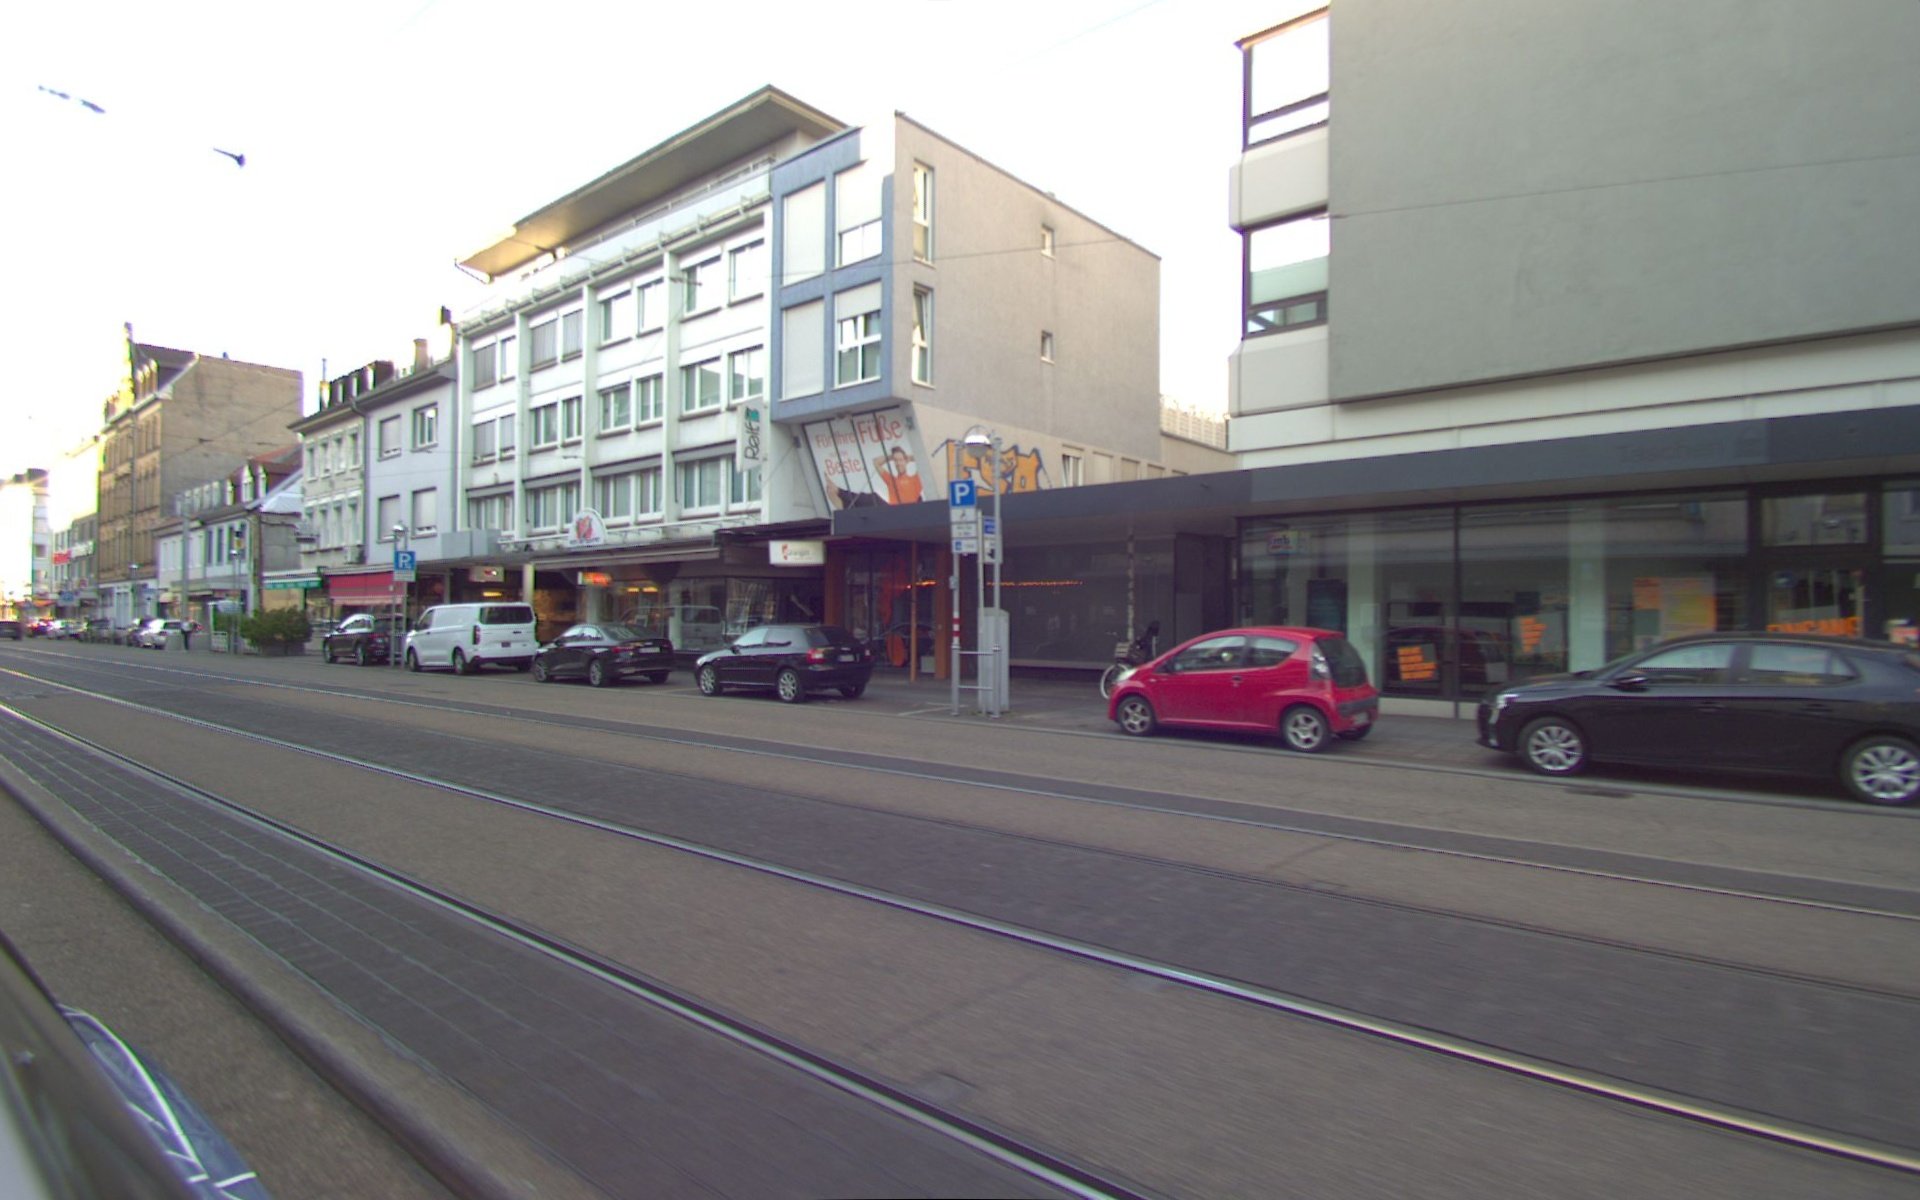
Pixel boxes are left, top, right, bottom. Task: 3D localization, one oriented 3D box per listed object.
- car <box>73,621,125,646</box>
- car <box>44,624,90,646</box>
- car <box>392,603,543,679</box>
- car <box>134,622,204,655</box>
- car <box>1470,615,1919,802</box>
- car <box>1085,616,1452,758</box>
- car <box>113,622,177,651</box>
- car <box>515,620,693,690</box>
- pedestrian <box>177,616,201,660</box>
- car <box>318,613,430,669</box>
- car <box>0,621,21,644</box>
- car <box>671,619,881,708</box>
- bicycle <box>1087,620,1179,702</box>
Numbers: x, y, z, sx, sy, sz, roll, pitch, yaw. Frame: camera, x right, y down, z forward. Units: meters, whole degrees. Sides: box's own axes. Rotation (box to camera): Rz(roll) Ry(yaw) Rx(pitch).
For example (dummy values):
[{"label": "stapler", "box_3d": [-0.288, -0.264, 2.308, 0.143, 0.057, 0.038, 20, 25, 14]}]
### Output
[{"label": "car", "box_3d": [-55.633, 2.133, 65.357, 3.998, 1.564, 1.973, -1, -2, 41]}, {"label": "car", "box_3d": [-64.584, 2.484, 73.164, 4.204, 1.564, 1.973, -1, -2, 41]}, {"label": "car", "box_3d": [-14.162, 1.144, 28.975, 5.158, 1.992, 1.935, -1, -2, 40]}, {"label": "car", "box_3d": [-40.300, 1.909, 51.504, 4.876, 1.556, 1.972, -1, -1, 42]}, {"label": "car", "box_3d": [7.482, 0.922, 9.850, 4.213, 1.523, 1.668, -1, -1, 41]}, {"label": "car", "box_3d": [3.835, 0.987, 13.037, 4.213, 1.523, 1.668, -1, -1, 41]}, {"label": "car", "box_3d": [-44.367, 1.957, 55.067, 4.550, 1.556, 1.889, -1, -2, 41]}, {"label": "car", "box_3d": [-8.519, 1.233, 24.024, 4.555, 1.477, 1.973, -1, -1, 40]}, {"label": "pedestrian", "box_3d": [-35.621, 1.762, 46.770, 0.811, 2.029, 0.714, 1, -2, -34]}, {"label": "car", "box_3d": [-19.626, 1.323, 33.826, 4.524, 1.734, 1.839, -1, -1, 40]}, {"label": "car", "box_3d": [-66.804, 2.255, 70.220, 3.998, 1.564, 1.973, -1, -2, 41]}, {"label": "car", "box_3d": [-3.666, 1.146, 19.663, 4.445, 1.523, 1.667, -1, -1, 42]}, {"label": "bicycle", "box_3d": [3.236, 1.106, 18.801, 0.833, 1.436, 1.949, -1, -2, 39]}]
